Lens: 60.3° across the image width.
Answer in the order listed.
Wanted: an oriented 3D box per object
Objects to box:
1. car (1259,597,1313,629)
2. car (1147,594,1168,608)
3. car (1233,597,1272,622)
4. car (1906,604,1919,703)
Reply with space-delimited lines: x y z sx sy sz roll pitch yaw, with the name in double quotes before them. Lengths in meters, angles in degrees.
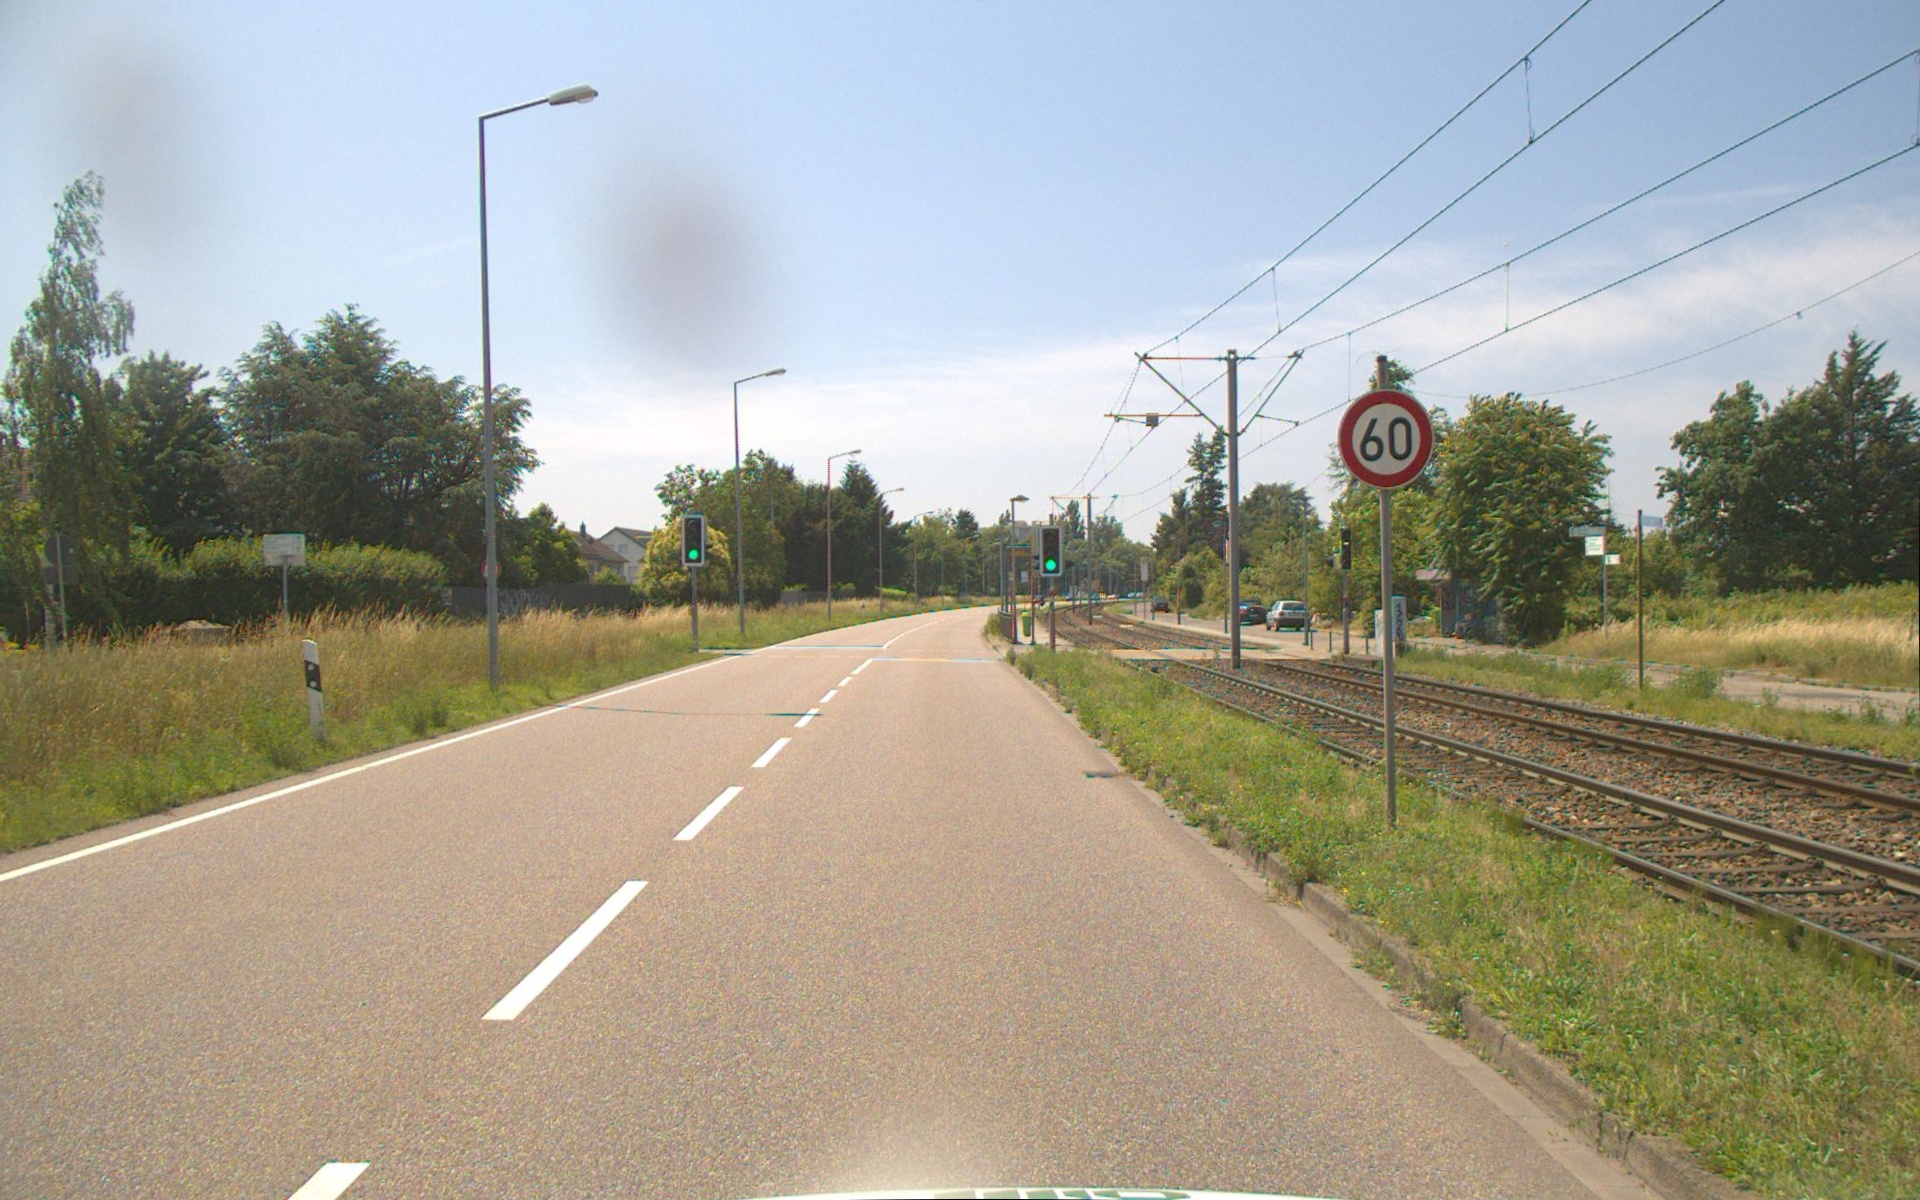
"car" 15.540 0.607 78.994 1.899 1.447 4.001 0 0 1
"car" 19.991 0.091 167.372 1.822 1.353 4.517 0 0 3
"car" 17.288 0.562 97.947 1.586 1.447 4.874 0 0 2
"car" 15.594 0.832 23.787 1.678 1.514 4.001 0 0 0
